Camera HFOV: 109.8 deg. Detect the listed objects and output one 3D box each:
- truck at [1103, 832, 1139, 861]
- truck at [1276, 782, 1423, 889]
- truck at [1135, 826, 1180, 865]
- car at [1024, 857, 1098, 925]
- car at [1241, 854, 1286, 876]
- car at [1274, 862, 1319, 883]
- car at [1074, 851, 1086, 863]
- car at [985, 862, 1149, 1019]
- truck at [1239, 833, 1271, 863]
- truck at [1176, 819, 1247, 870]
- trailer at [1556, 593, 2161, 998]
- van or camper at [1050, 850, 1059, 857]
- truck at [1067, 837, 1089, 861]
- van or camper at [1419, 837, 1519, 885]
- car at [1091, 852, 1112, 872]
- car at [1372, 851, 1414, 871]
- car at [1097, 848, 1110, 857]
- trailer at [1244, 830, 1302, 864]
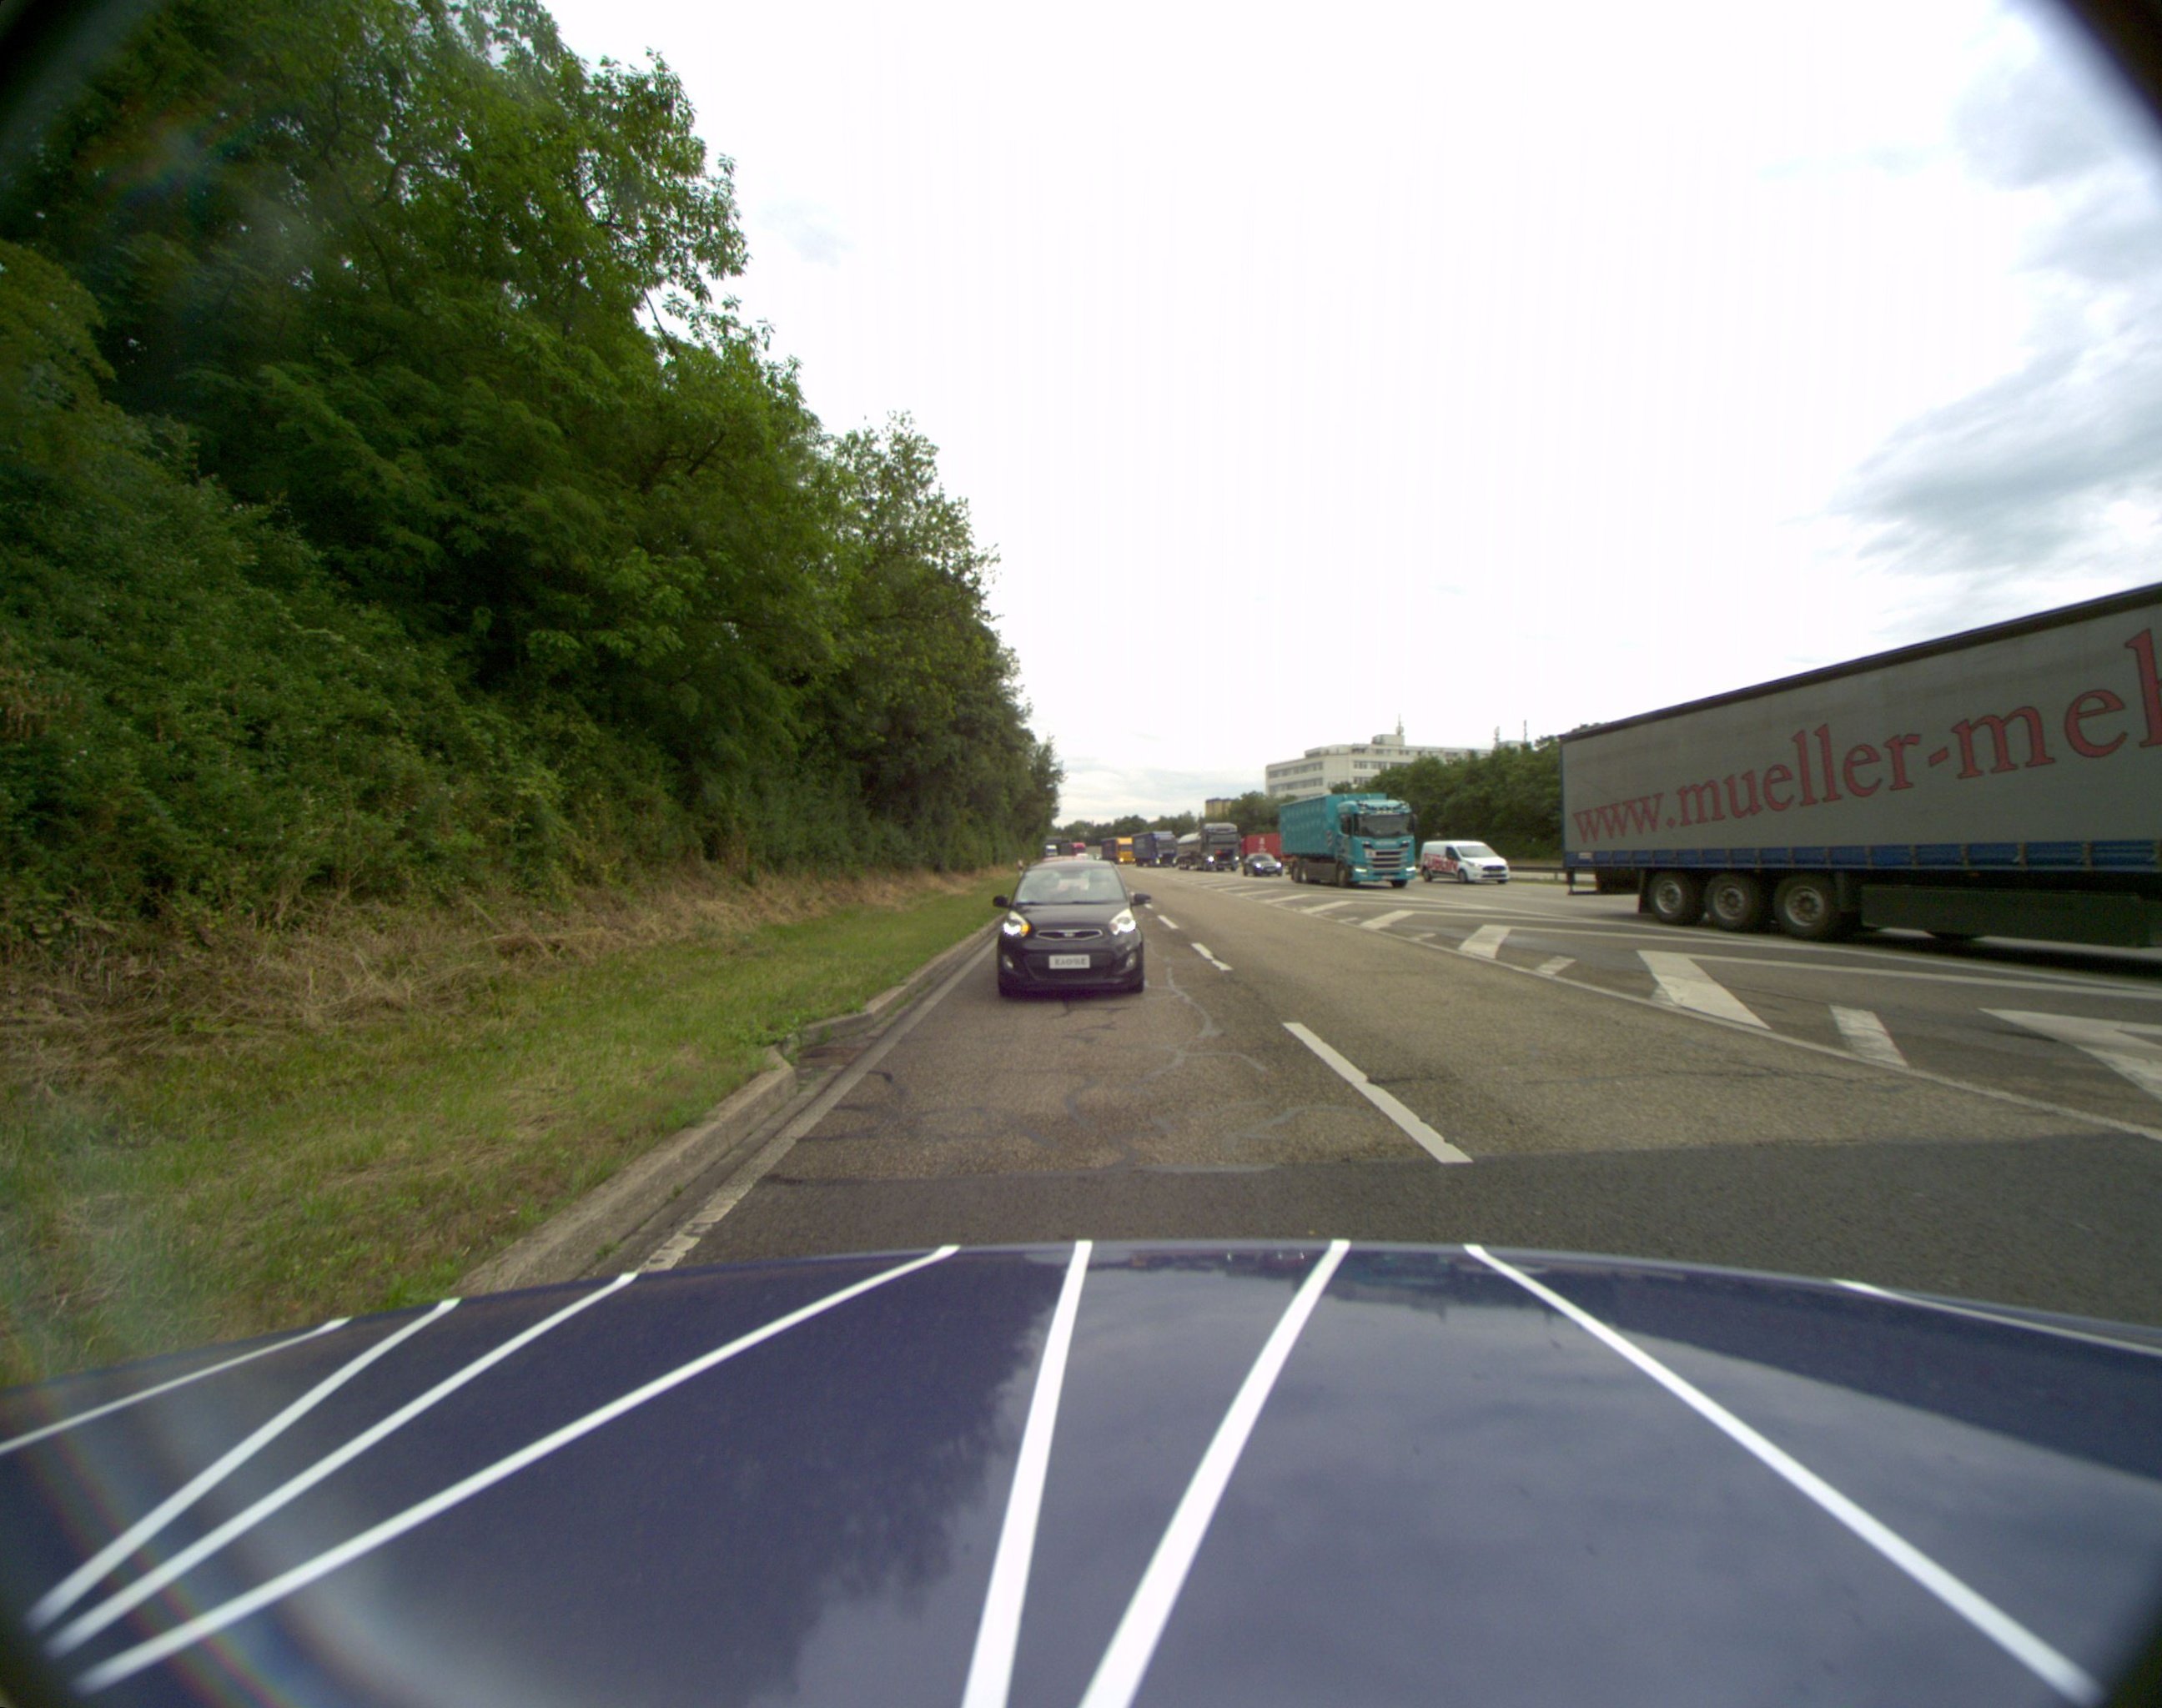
[{"bbox_3d":[6.145,-1.096,120.200,2.848,4.206,14.110,-1,0,-8],"label":"truck"},{"bbox_3d":[11.417,-0.702,33.662,2.700,3.977,10.123,-1,0,-1],"label":"truck"},{"bbox_3d":[8.855,-0.943,89.563,2.814,4.206,14.000,-1,0,-4],"label":"truck"},{"bbox_3d":[-0.457,0.827,18.812,1.631,1.492,3.563,-1,0,-1],"label":"car"},{"bbox_3d":[11.322,0.648,47.400,1.757,1.314,3.999,-1,0,-1],"label":"car"},{"bbox_3d":[15.431,1.315,54.687,1.898,1.425,4.054,-1,0,-3],"label":"car"},{"bbox_3d":[-0.137,0.428,104.873,1.614,1.657,3.146,-1,0,1],"label":"car"},{"bbox_3d":[-0.112,0.885,9.527,1.584,1.485,4.000,-1,0,1],"label":"car"},{"bbox_3d":[23.906,-0.836,104.712,2.771,4.041,4.904,-1,0,-6],"label":"truck"},{"bbox_3d":[11.035,-0.777,66.041,3.328,3.902,13.142,-1,0,-2],"label":"truck"},{"bbox_3d":[11.916,-0.594,10.059,2.680,3.951,13.919,-1,0,1],"label":"trailer"},{"bbox_3d":[-6.898,-0.094,198.017,1.707,1.685,3.824,-1,0,-10],"label":"van or camper"},{"bbox_3d":[-0.815,-1.090,166.548,2.848,5.070,14.110,-1,0,-8],"label":"truck"},{"bbox_3d":[16.418,0.257,32.428,1.720,1.881,4.590,-1,0,-3],"label":"van or camper"},{"bbox_3d":[1.671,0.638,62.299,1.602,1.543,3.302,-1,0,-1],"label":"car"},{"bbox_3d":[23.039,0.466,56.279,1.497,1.425,3.563,-1,0,-3],"label":"car"},{"bbox_3d":[4.092,-0.281,140.711,1.700,1.704,3.864,-1,0,-9],"label":"car"},{"bbox_3d":[24.588,-0.843,98.243,2.773,4.040,13.345,-1,0,-6],"label":"trailer"}]
